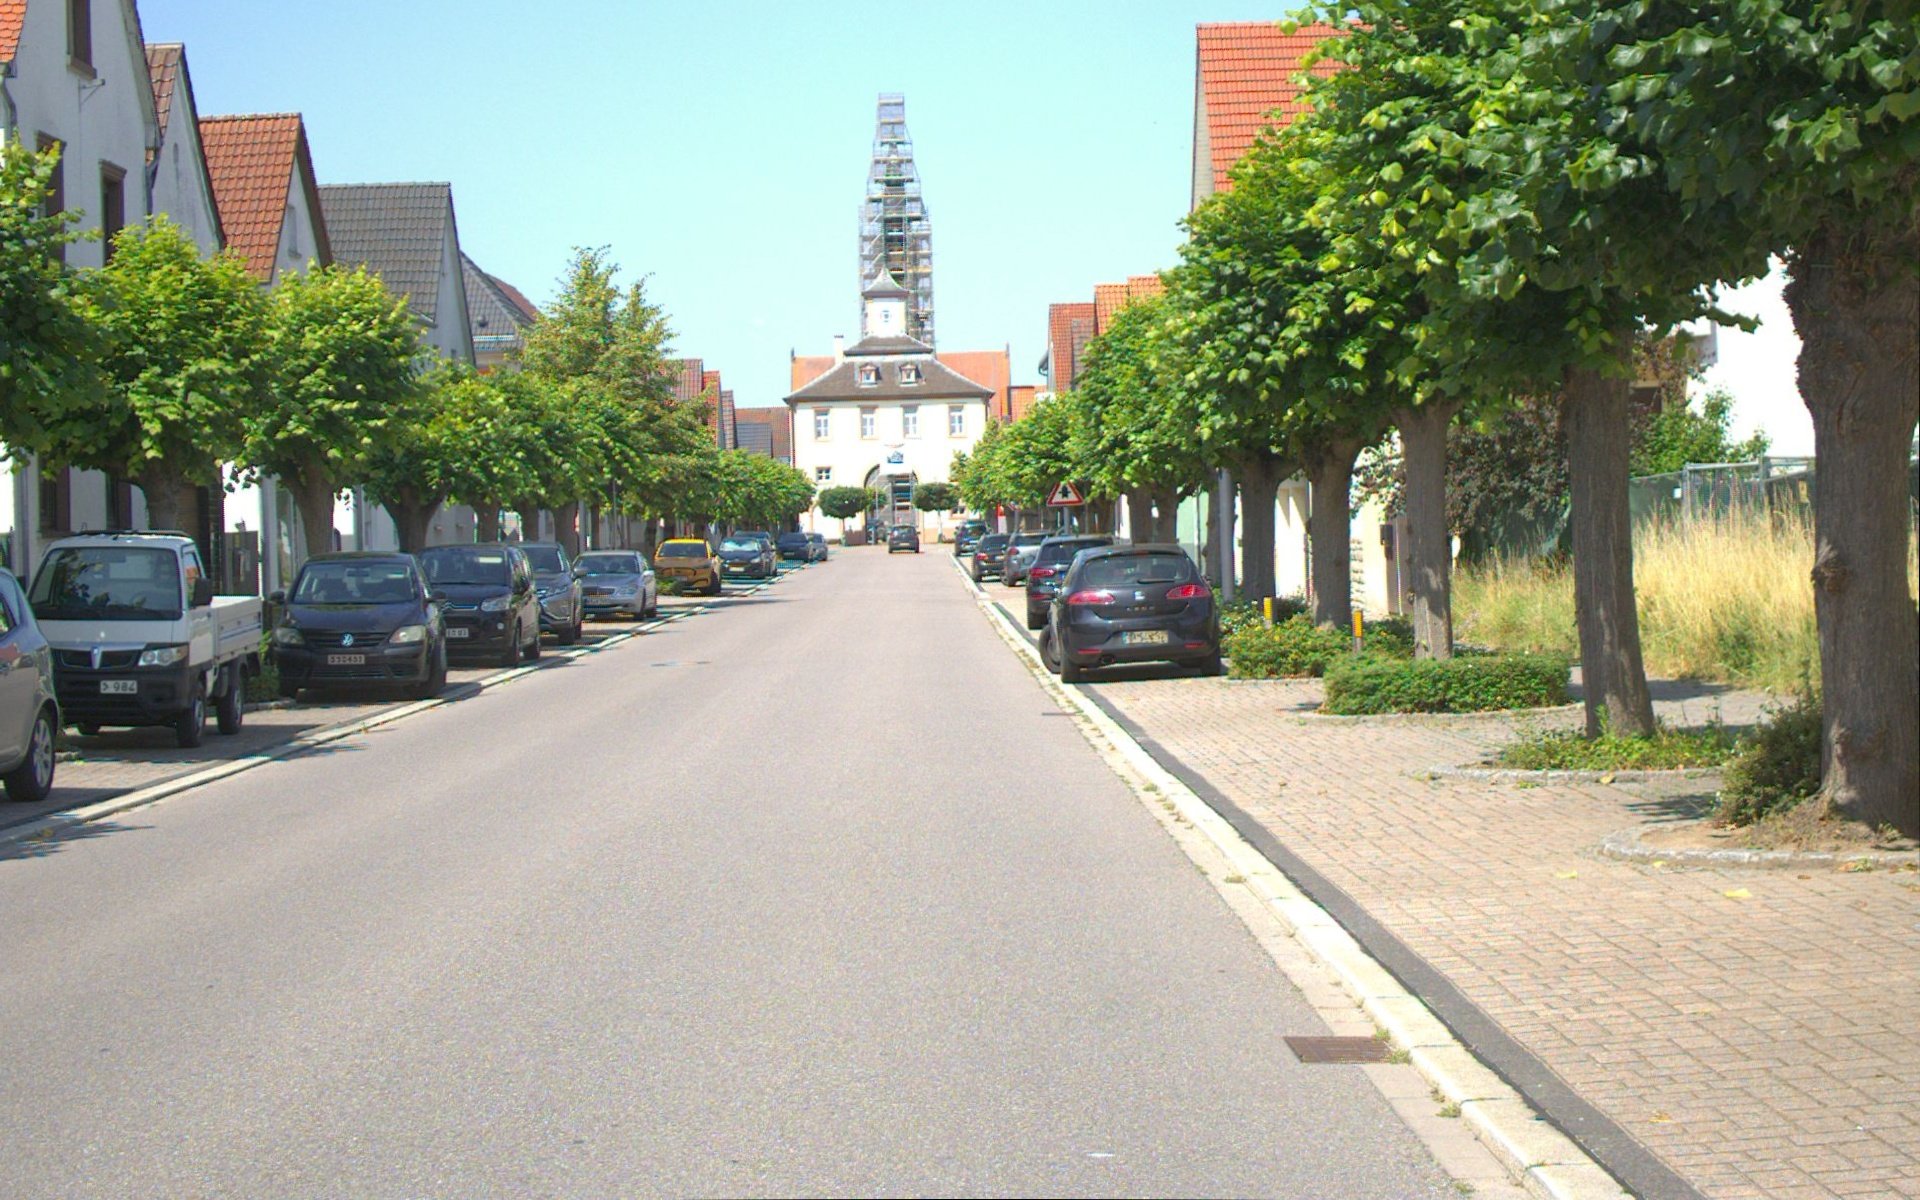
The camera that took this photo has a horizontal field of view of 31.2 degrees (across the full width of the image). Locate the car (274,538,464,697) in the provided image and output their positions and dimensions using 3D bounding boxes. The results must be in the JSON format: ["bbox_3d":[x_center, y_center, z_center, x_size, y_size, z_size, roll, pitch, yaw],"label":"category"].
[{"bbox_3d":[-6.430,0.146,37.727,1.785,1.628,4.001,-1,1,-6],"label":"car"}]

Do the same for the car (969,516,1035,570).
[{"bbox_3d":[1.292,-1.815,107.634,1.837,1.550,4.314,-3,1,-1],"label":"car"}]

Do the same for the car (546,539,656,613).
[{"bbox_3d":[-7.286,-0.512,70.127,1.840,1.391,4.407,-1,1,-1],"label":"car"}]

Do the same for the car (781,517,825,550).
[{"bbox_3d":[-7.776,-3.272,170.408,1.993,1.606,3.855,0,1,0],"label":"car"}]

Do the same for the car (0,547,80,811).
[{"bbox_3d":[-6.779,0.483,20.756,1.853,1.607,4.371,0,1,-1],"label":"car"}]

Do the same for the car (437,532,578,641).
[{"bbox_3d":[-7.299,-0.255,55.827,1.993,1.647,4.368,1,1,-4],"label":"car"}]

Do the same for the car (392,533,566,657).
[{"bbox_3d":[-6.527,-0.095,47.025,1.853,1.629,4.057,0,1,-1],"label":"car"}]

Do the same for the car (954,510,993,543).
[{"bbox_3d":[0.662,-3.648,170.354,1.837,1.550,4.314,-3,1,0],"label":"car"}]

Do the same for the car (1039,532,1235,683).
[{"bbox_3d":[1.909,0.037,38.105,1.824,1.427,4.057,-4,2,-1],"label":"car"}]

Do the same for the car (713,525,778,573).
[{"bbox_3d":[-7.570,-1.831,121.680,1.993,1.606,4.689,0,2,0],"label":"car"}]

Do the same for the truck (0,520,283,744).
[{"bbox_3d":[-6.950,0.213,29.315,1.576,1.759,4.192,0,1,-1],"label":"truck"}]

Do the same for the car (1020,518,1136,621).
[{"bbox_3d":[2.060,-0.559,59.186,1.824,1.580,4.057,-3,2,3],"label":"car"}]

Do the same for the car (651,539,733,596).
[{"bbox_3d":[-7.783,-0.960,100.177,1.993,1.606,4.689,0,1,0],"label":"car"}]

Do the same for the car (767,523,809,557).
[{"bbox_3d":[-8.214,-2.881,164.670,1.757,1.550,4.020,-2,1,0],"label":"car"}]

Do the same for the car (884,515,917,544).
[{"bbox_3d":[-3.190,-3.742,183.466,1.729,1.542,3.456,0,1,-1],"label":"car"}]

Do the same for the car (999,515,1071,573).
[{"bbox_3d":[2.151,-1.644,99.964,1.837,1.602,4.001,-1,1,-2],"label":"car"}]
